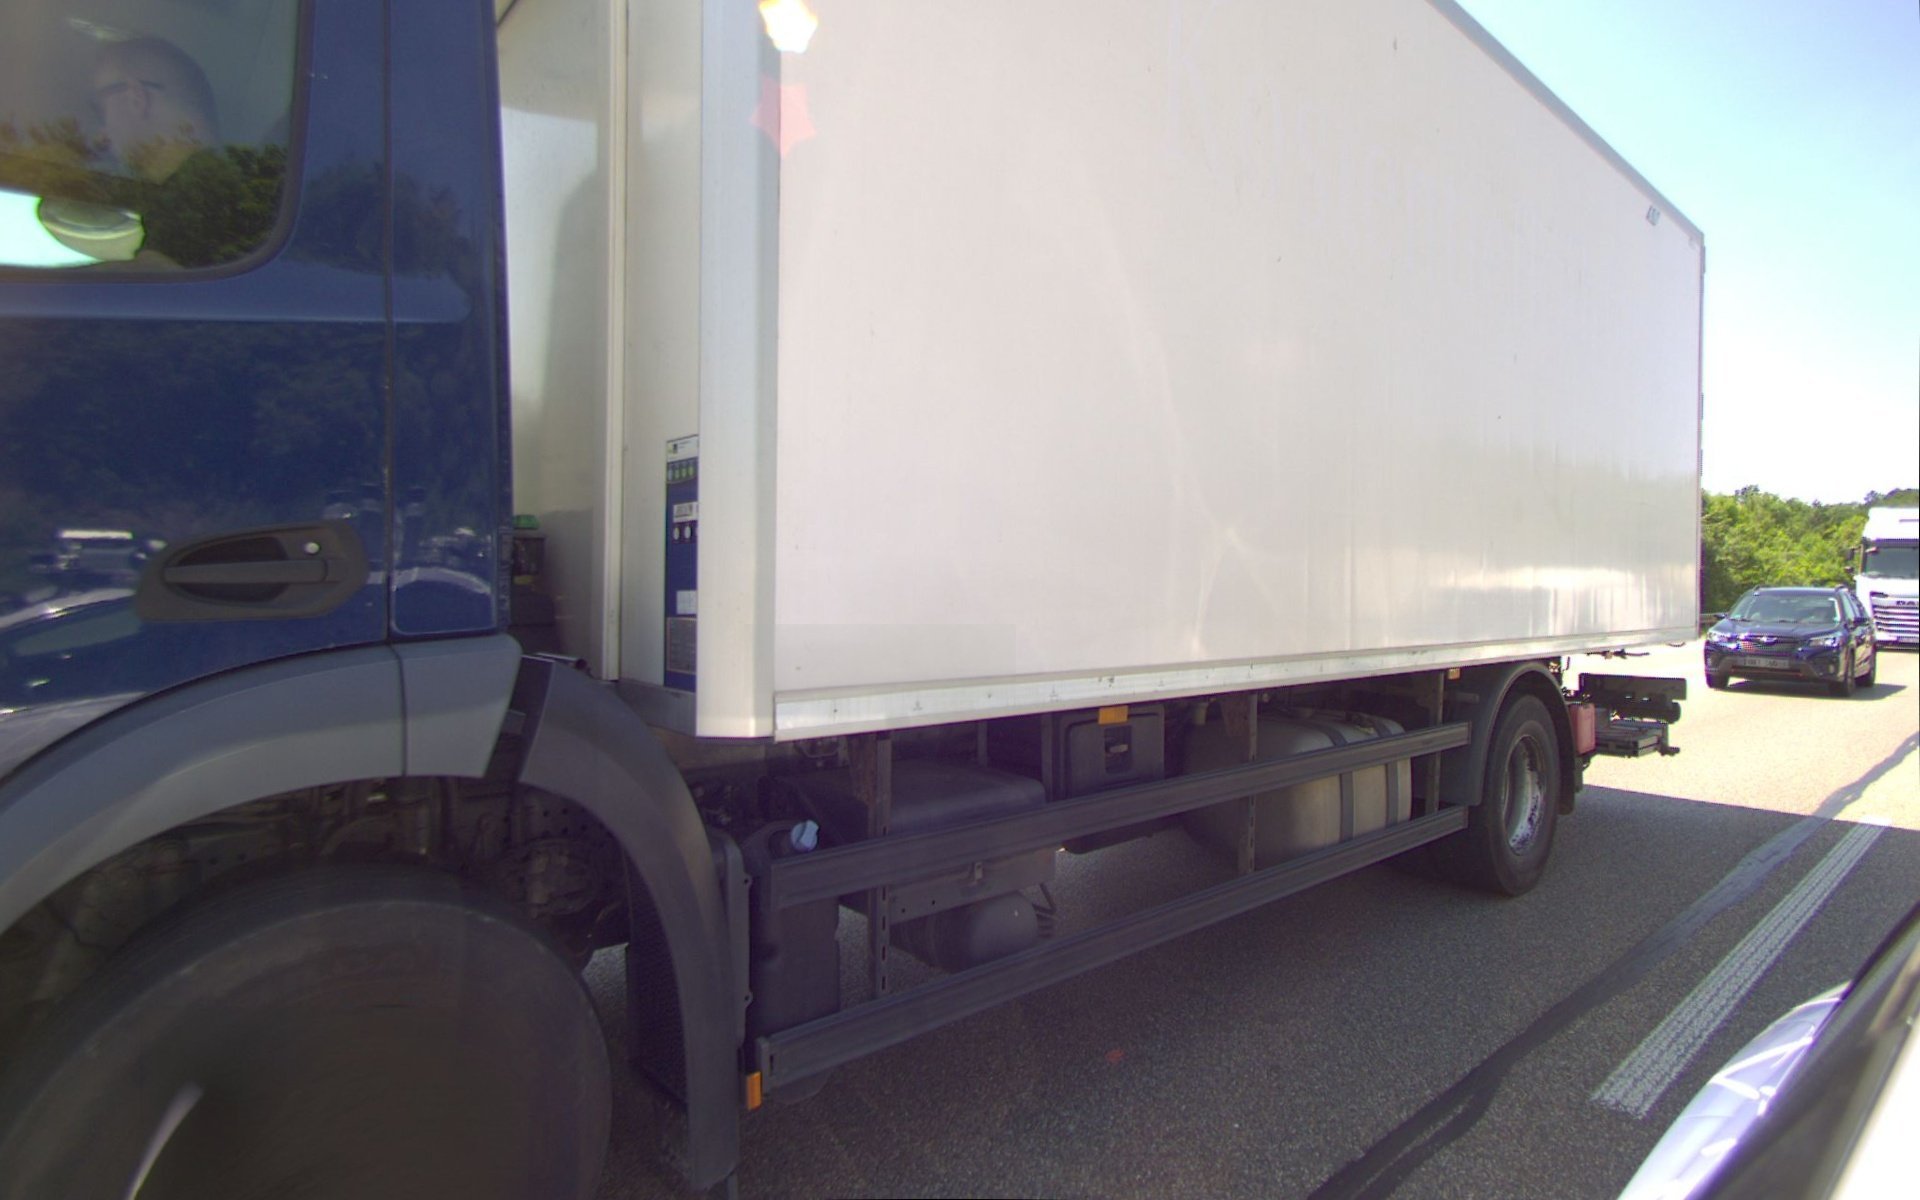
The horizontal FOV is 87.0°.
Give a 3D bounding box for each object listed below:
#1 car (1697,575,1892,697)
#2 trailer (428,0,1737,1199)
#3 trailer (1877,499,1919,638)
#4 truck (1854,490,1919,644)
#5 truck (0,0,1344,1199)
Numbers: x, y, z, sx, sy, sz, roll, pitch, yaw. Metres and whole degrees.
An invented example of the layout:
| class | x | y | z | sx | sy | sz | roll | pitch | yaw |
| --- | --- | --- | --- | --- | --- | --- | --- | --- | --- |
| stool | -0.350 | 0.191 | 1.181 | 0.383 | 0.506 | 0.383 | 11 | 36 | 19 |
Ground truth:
| class | x | y | z | sx | sy | sz | roll | pitch | yaw |
| --- | --- | --- | --- | --- | --- | --- | --- | --- | --- |
| car | 14.003 | 0.466 | 16.888 | 4.535 | 1.713 | 1.995 | -1 | 3 | -44 |
| trailer | 1.721 | -0.198 | 5.442 | 7.746 | 2.935 | 2.559 | 0 | 0 | -42 |
| trailer | 33.216 | -1.028 | 33.620 | 11.418 | 4.134 | 2.765 | -1 | 3 | -42 |
| truck | 28.482 | -0.942 | 29.480 | 7.207 | 4.135 | 2.764 | -1 | 1 | -41 |
| truck | -1.156 | -0.136 | 2.868 | 4.032 | 2.977 | 2.561 | -1 | 2 | -40 |
